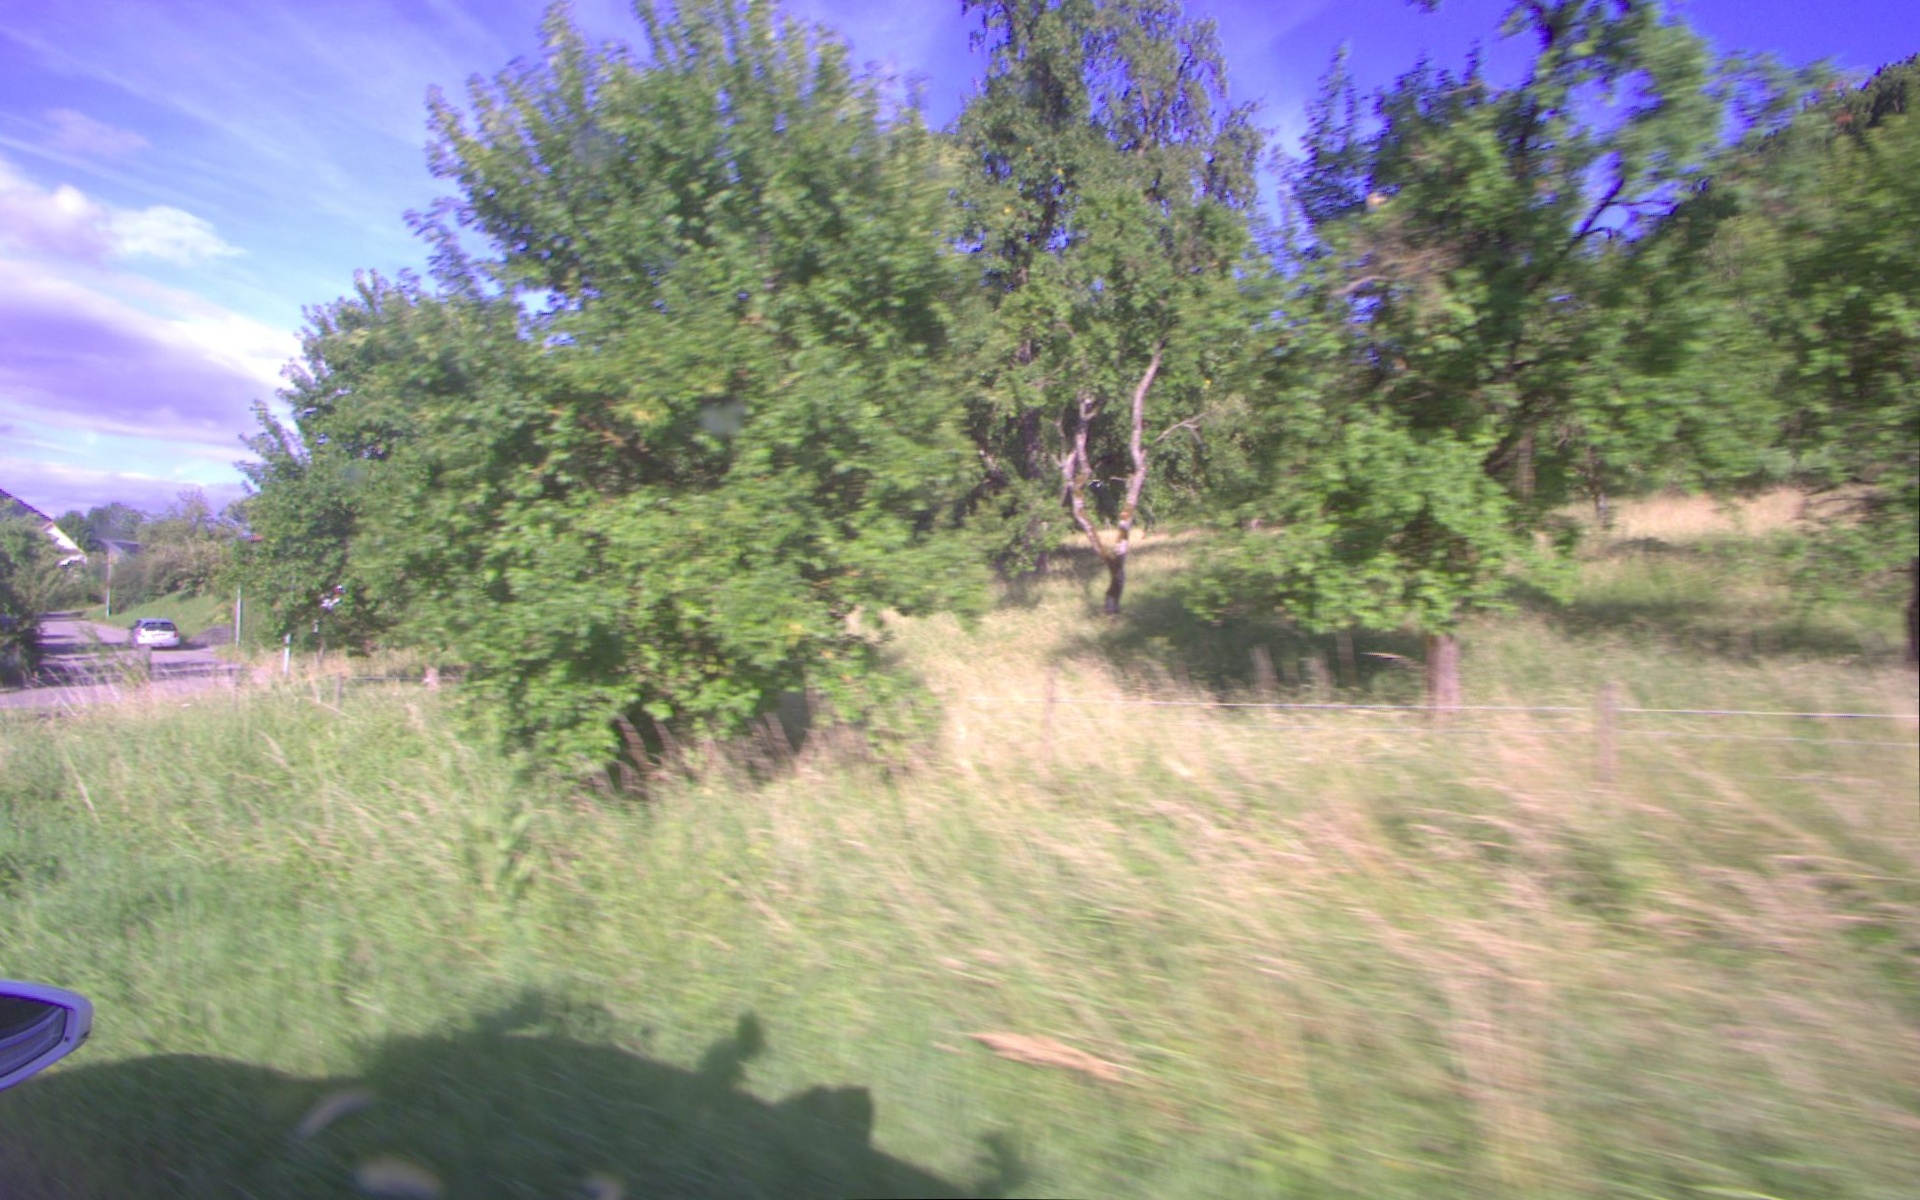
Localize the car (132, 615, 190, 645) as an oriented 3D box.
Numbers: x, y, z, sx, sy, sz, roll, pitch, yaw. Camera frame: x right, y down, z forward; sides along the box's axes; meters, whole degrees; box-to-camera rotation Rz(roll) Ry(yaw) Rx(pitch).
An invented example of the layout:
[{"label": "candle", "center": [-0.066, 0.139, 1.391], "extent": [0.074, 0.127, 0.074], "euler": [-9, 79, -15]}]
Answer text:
[{"label": "car", "center": [-40.649, 1.536, 50.898], "extent": [1.981, 1.482, 3.963], "euler": [1, -3, -43]}]
